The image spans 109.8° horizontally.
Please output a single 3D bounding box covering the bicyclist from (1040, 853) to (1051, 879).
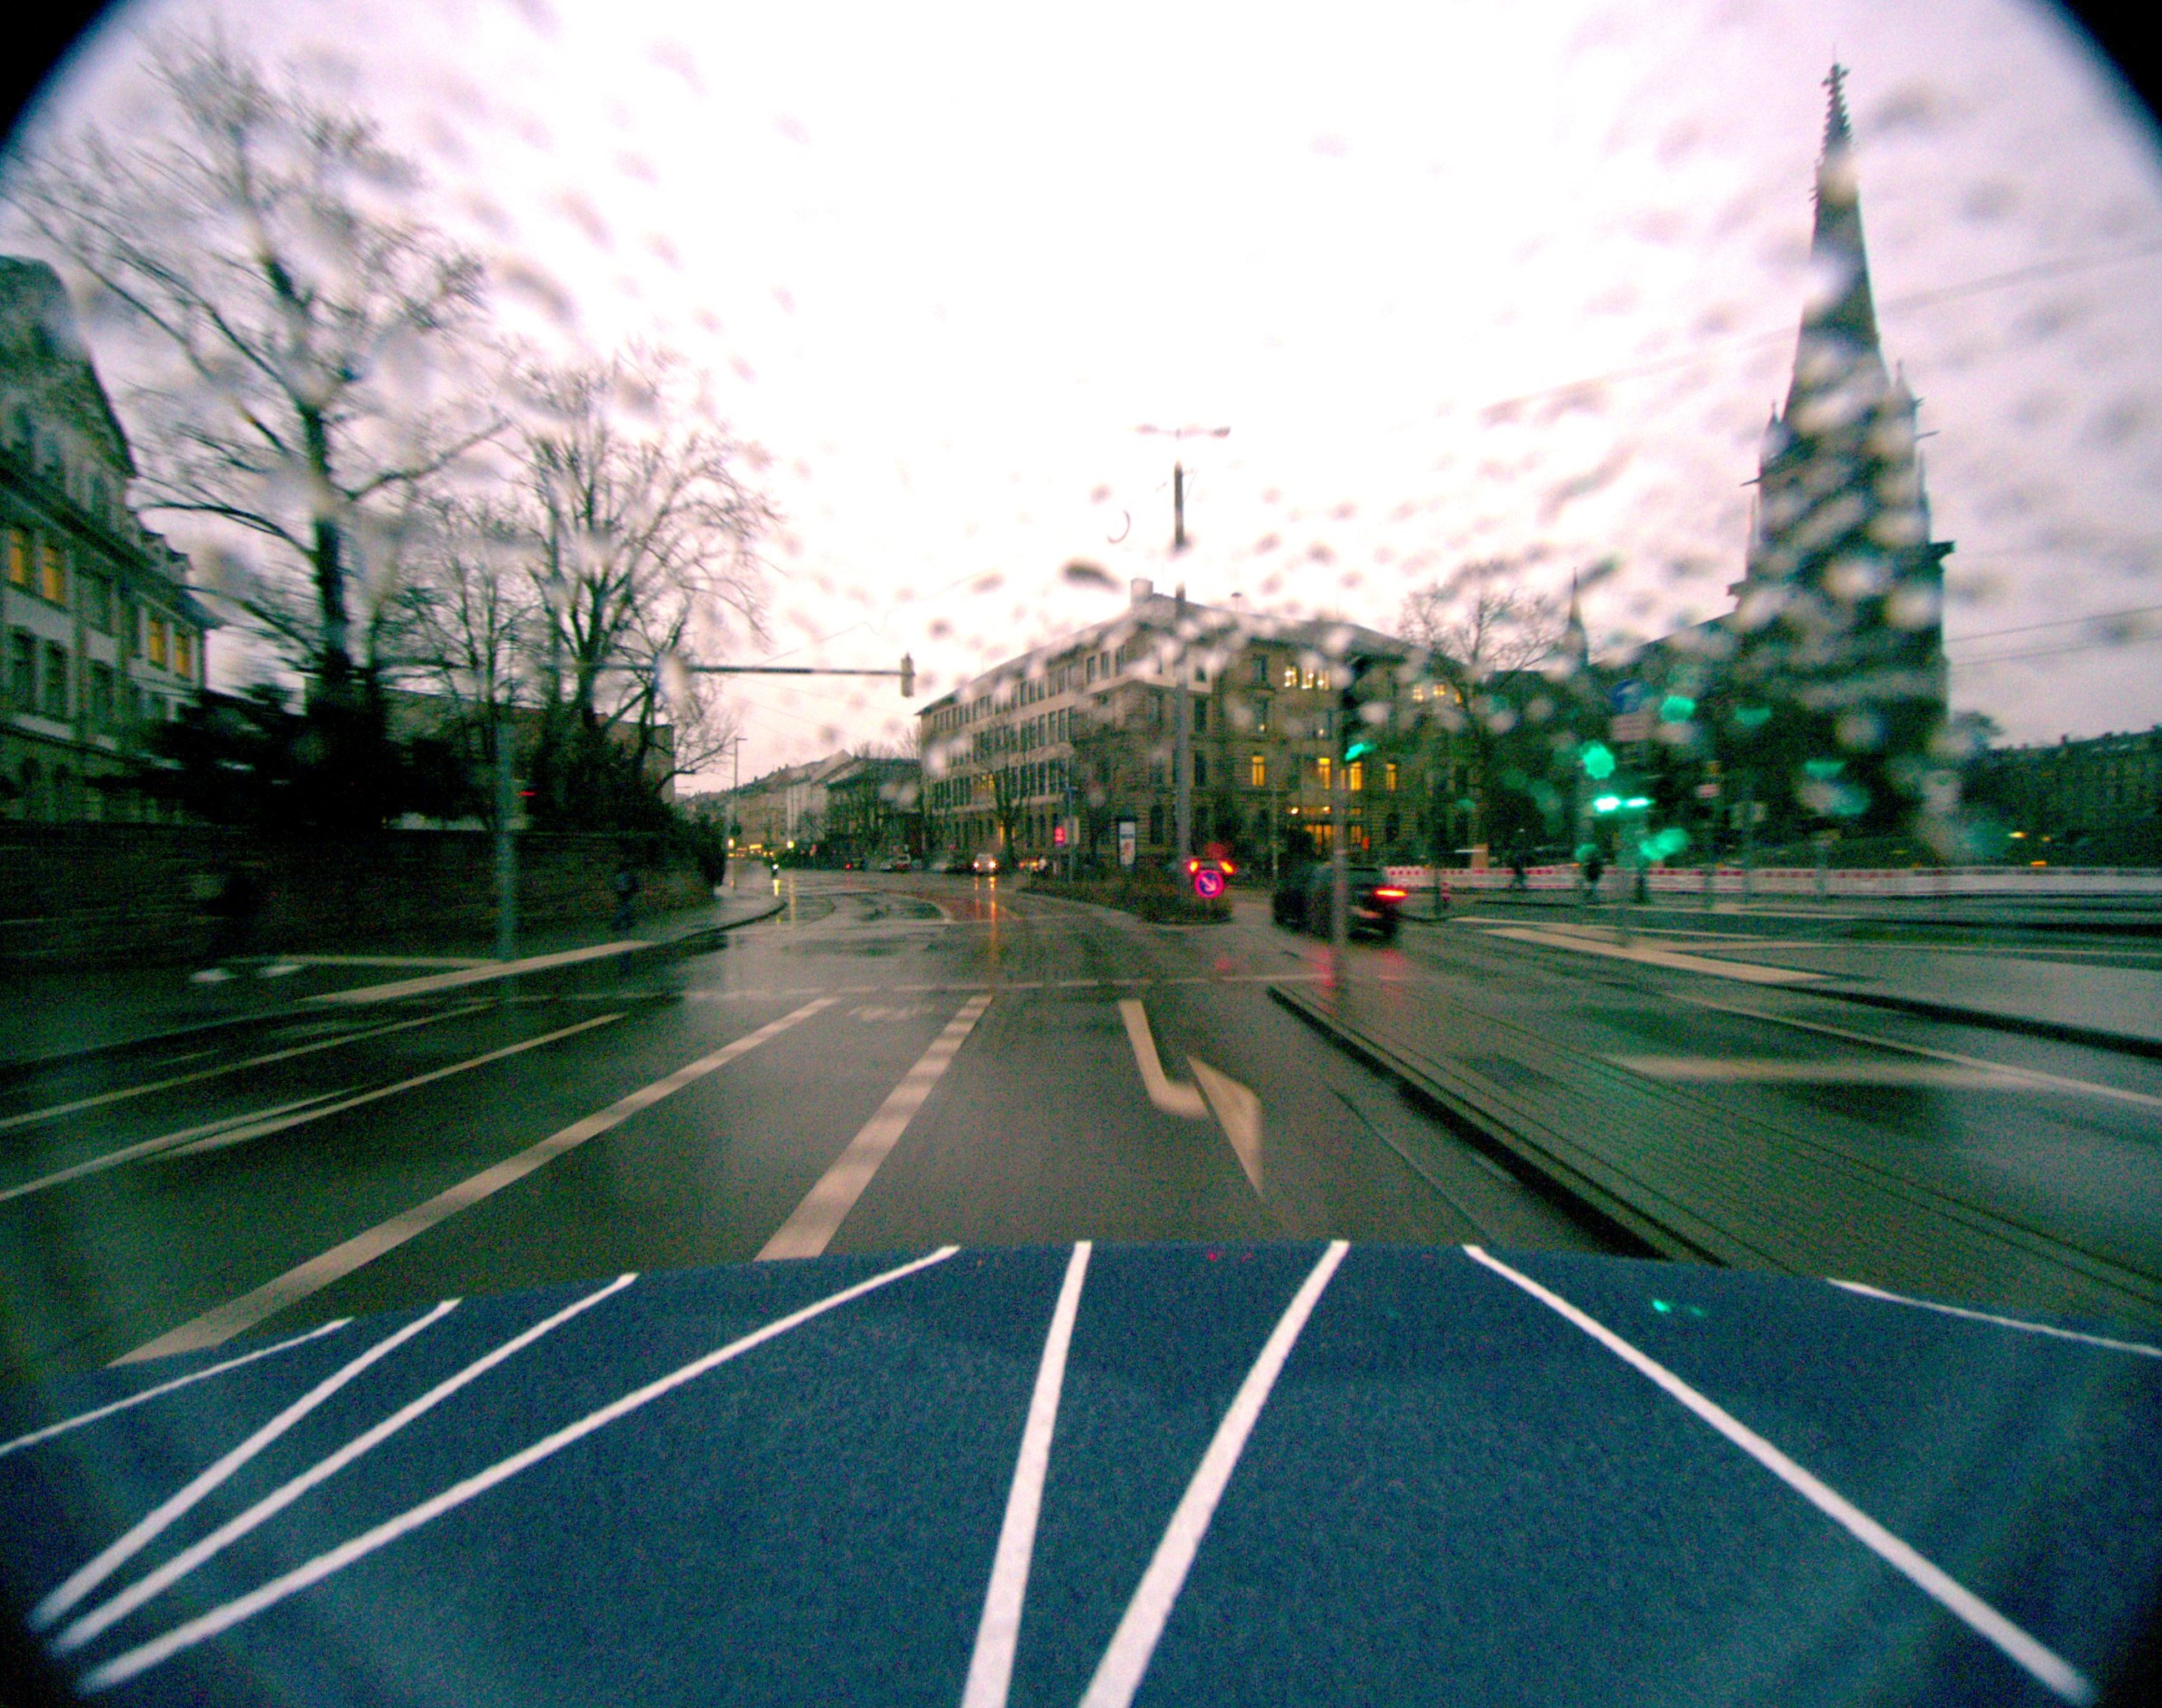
[{"bbox_3d":[-2.524,0.844,53.984,0.611,1.758,0.589,-2,2,9],"label":"bicyclist"}]

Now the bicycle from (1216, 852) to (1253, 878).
[{"bbox_3d":[10.511,0.744,51.975,2.424,1.679,0.714,-1,2,16],"label":"bicycle"}]

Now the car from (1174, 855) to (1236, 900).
[{"bbox_3d":[4.945,0.900,30.823,1.758,1.652,4.530,1,0,0],"label":"car"}]

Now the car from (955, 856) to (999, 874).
[{"bbox_3d":[-9.840,0.989,72.334,1.795,1.449,4.484,-1,2,29],"label":"car"}]

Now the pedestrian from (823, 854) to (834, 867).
[{"bbox_3d":[-34.348,0.873,103.389,0.945,1.694,0.925,-1,3,33],"label":"pedestrian"}]

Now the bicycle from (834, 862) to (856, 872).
[{"bbox_3d":[-26.428,1.418,85.056,2.125,0.939,0.942,-3,2,-30],"label":"bicycle"}]

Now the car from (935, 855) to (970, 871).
[{"bbox_3d":[-12.906,0.895,76.614,1.633,1.449,3.831,-1,2,22],"label":"car"}]

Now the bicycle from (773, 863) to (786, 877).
[{"bbox_3d":[-24.553,1.282,61.778,0.725,1.084,2.281,-2,0,-27],"label":"bicycle"}]

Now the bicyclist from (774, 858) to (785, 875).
[{"bbox_3d":[-24.594,1.040,61.955,0.718,1.335,0.718,-3,3,-27],"label":"bicyclist"}]

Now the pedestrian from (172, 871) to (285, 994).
[{"bbox_3d":[-12.105,1.083,10.820,0.792,1.665,0.729,1,0,-13],"label":"pedestrian"}]

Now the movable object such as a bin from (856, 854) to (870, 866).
[{"bbox_3d":[-27.869,0.754,97.037,1.341,1.456,0.987,-1,2,18],"label":"movable object such as a bin"}]

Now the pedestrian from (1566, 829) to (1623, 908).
[{"bbox_3d":[15.883,0.411,23.525,0.996,2.357,1.063,-2,2,-4],"label":"pedestrian"}]

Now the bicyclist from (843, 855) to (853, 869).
[{"bbox_3d":[-26.092,0.889,85.171,0.858,1.586,0.779,-1,2,-30],"label":"bicyclist"}]

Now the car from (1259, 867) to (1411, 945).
[{"bbox_3d":[5.180,0.994,16.138,1.751,1.370,4.366,1,0,0],"label":"car"}]

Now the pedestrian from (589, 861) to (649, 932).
[{"bbox_3d":[-11.294,1.025,18.611,0.807,1.675,1.156,1,0,-4],"label":"pedestrian"}]

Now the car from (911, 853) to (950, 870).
[{"bbox_3d":[-15.902,0.758,80.558,1.819,1.531,3.983,-1,2,28],"label":"car"}]

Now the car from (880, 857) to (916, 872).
[{"bbox_3d":[-21.117,1.193,87.788,1.771,1.582,4.191,-1,2,27],"label":"car"}]

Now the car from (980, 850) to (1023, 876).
[{"bbox_3d":[-6.977,0.746,67.318,1.908,2.022,4.809,-1,2,18],"label":"car"}]

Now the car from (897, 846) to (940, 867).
[{"bbox_3d":[-17.727,0.263,82.995,1.961,2.042,4.629,-1,2,29],"label":"car"}]
